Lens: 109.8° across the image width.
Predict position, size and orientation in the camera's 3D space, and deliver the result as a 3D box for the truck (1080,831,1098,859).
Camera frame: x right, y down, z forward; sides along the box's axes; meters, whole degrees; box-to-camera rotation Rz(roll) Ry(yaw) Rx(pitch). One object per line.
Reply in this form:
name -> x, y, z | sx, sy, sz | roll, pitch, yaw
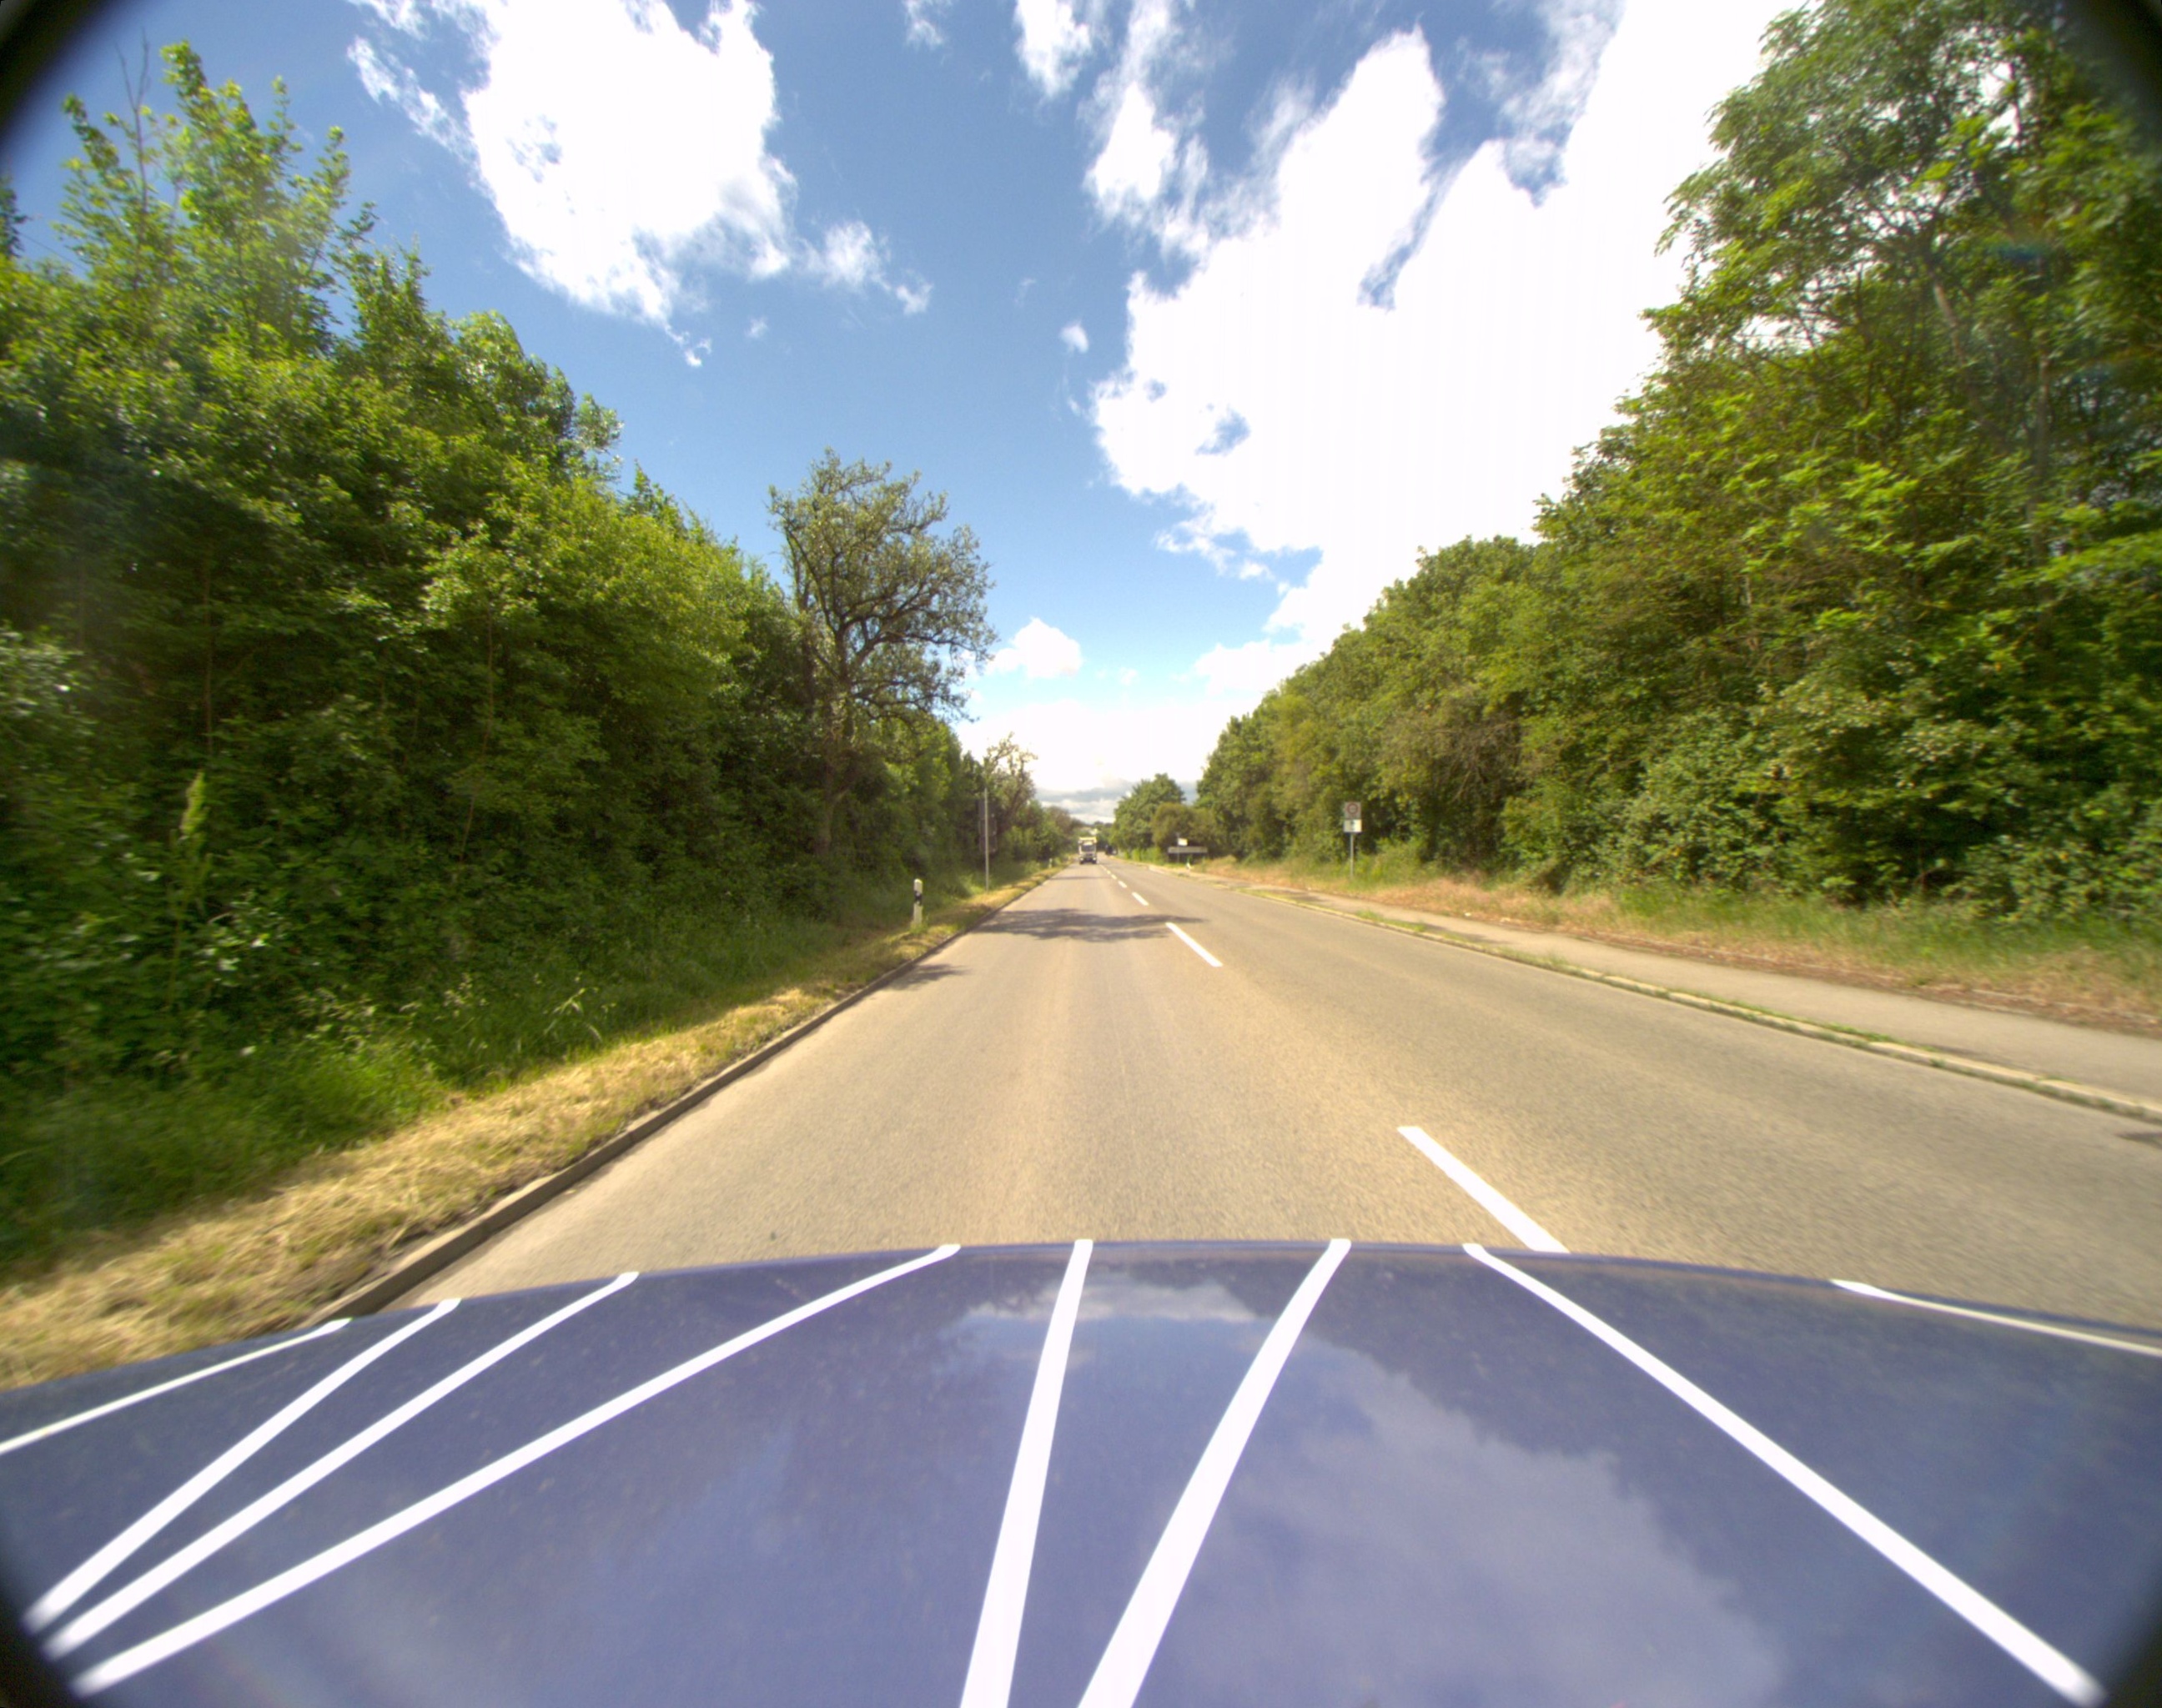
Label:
truck -> 1.199, -1.304, 110.288 | 2.306, 3.790, 8.182 | -3, 1, 1
